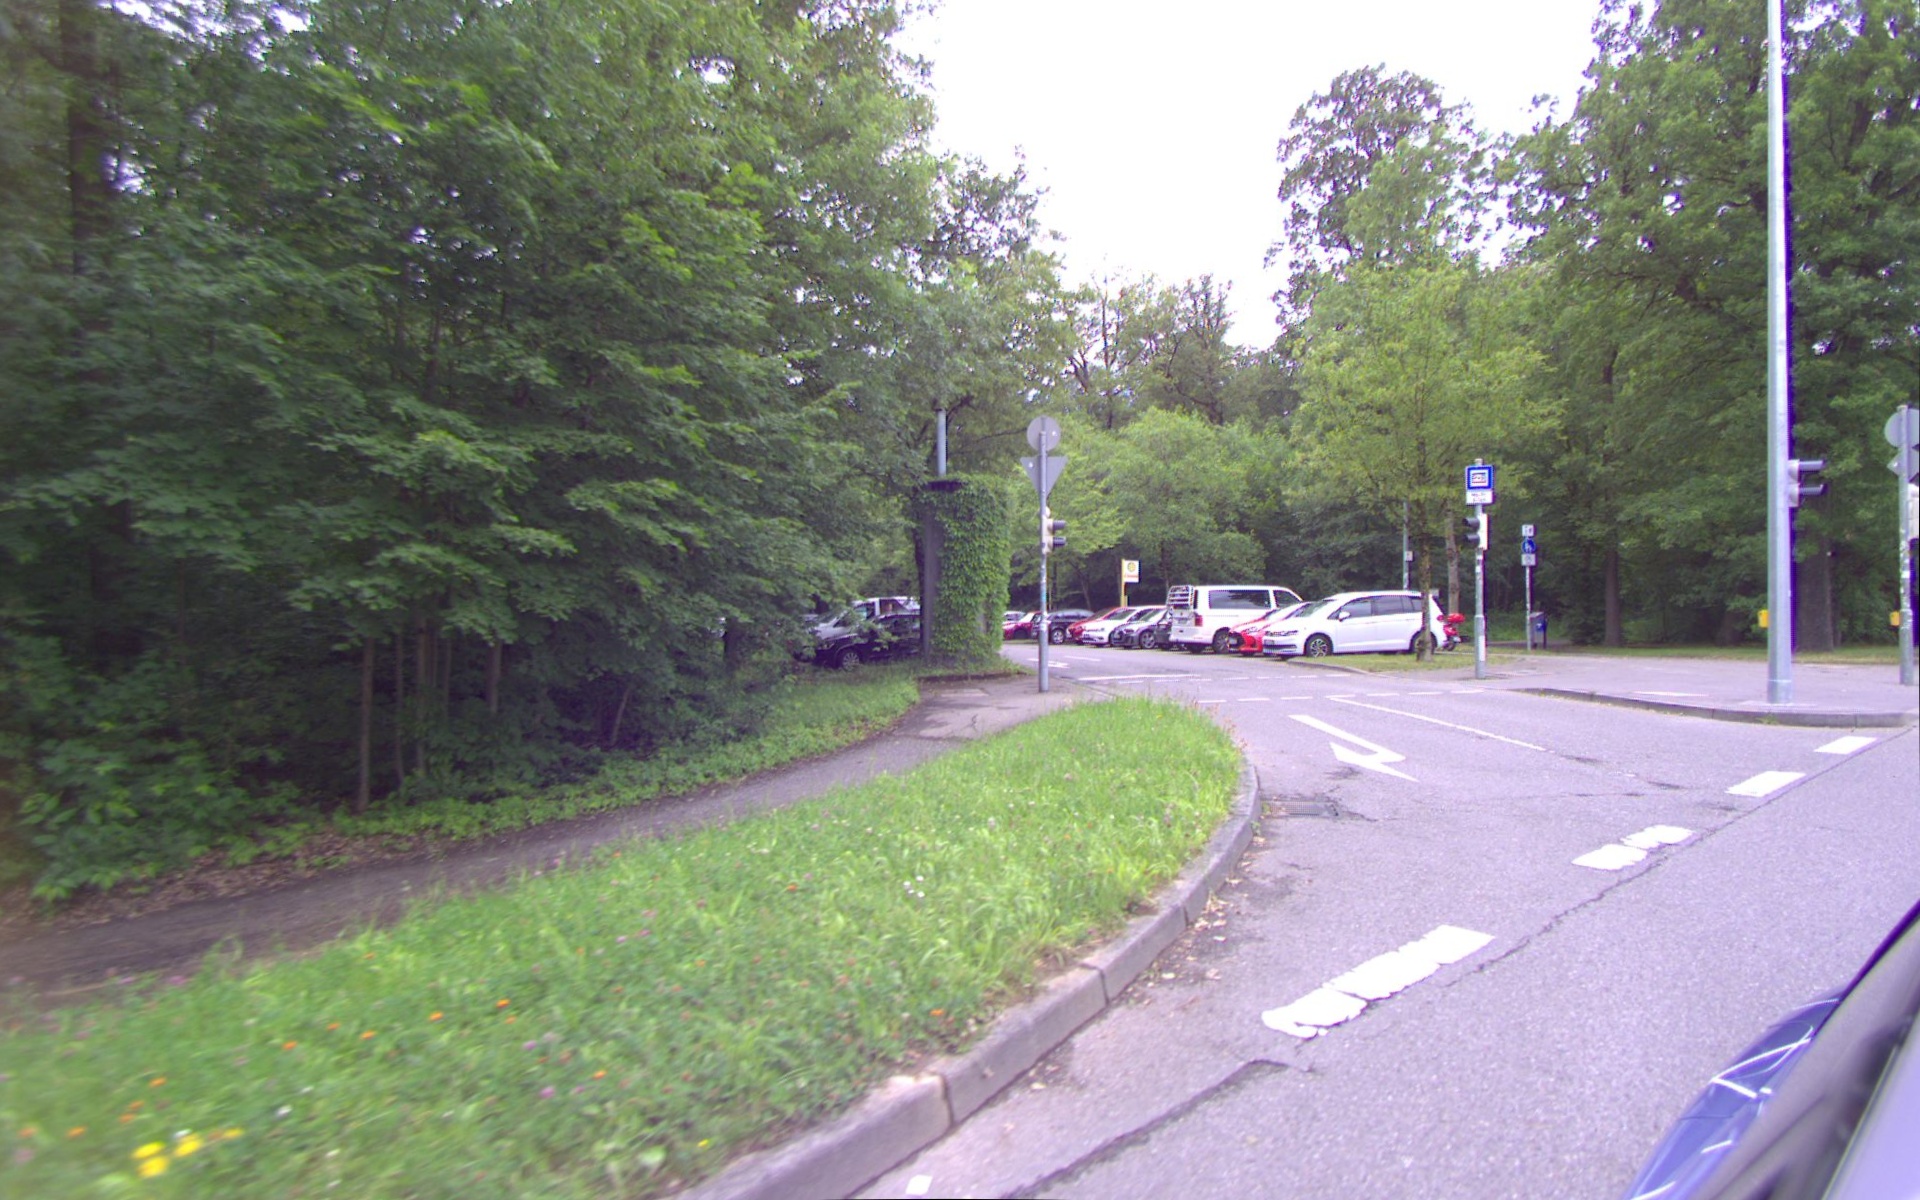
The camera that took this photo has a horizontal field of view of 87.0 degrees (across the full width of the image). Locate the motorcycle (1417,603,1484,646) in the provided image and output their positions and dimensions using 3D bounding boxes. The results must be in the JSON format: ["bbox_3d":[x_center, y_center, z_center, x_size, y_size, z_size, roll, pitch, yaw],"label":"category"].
[{"bbox_3d":[14.493,0.717,29.976,0.578,1.219,1.961,0,-1,-17],"label":"motorcycle"}]

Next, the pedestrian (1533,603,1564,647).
[{"bbox_3d":[22.995,0.968,39.550,0.830,1.672,1.019,-2,-2,43],"label":"pedestrian"}]

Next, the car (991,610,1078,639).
[{"bbox_3d":[3.440,1.119,47.025,3.695,1.282,1.623,0,-1,-19],"label":"car"}]

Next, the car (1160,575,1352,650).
[{"bbox_3d":[8.800,0.368,30.270,5.075,1.982,2.066,-2,-1,-13],"label":"car"}]

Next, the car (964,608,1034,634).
[{"bbox_3d":[1.992,1.074,51.989,3.214,1.278,1.521,0,-1,-19],"label":"car"}]

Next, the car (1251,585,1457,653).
[{"bbox_3d":[9.740,0.466,25.185,4.330,1.572,2.003,0,-1,-9],"label":"car"}]

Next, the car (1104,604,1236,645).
[{"bbox_3d":[7.235,0.828,34.935,4.042,1.342,1.823,0,-1,-13],"label":"car"}]

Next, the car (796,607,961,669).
[{"bbox_3d":[-2.067,0.915,25.429,3.768,1.438,1.824,0,-1,-21],"label":"car"}]

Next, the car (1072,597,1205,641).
[{"bbox_3d":[6.571,0.690,37.338,4.437,1.578,1.846,0,-1,-16],"label":"car"}]

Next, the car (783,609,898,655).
[{"bbox_3d":[-3.938,1.029,33.110,3.532,1.432,1.786,0,-1,-15],"label":"car"}]

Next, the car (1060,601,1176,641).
[{"bbox_3d":[6.190,0.813,39.917,4.112,1.515,1.823,0,-1,-13],"label":"car"}]

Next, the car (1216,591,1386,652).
[{"bbox_3d":[9.281,0.591,27.710,3.917,1.572,1.897,0,-1,-9],"label":"car"}]

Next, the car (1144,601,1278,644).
[{"bbox_3d":[8.165,0.723,33.017,3.853,1.345,1.724,0,-1,-15],"label":"car"}]

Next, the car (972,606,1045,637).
[{"bbox_3d":[2.354,1.044,49.424,3.214,1.448,1.521,0,-2,-19],"label":"car"}]

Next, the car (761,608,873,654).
[{"bbox_3d":[-5.409,1.151,38.285,3.907,1.639,1.851,0,-1,-19],"label":"car"}]

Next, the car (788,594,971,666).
[{"bbox_3d":[-2.298,0.807,28.427,4.846,1.903,2.003,0,-1,-15],"label":"car"}]

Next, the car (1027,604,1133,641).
[{"bbox_3d":[4.983,0.923,42.210,3.982,1.476,1.767,0,-1,-13],"label":"car"}]
